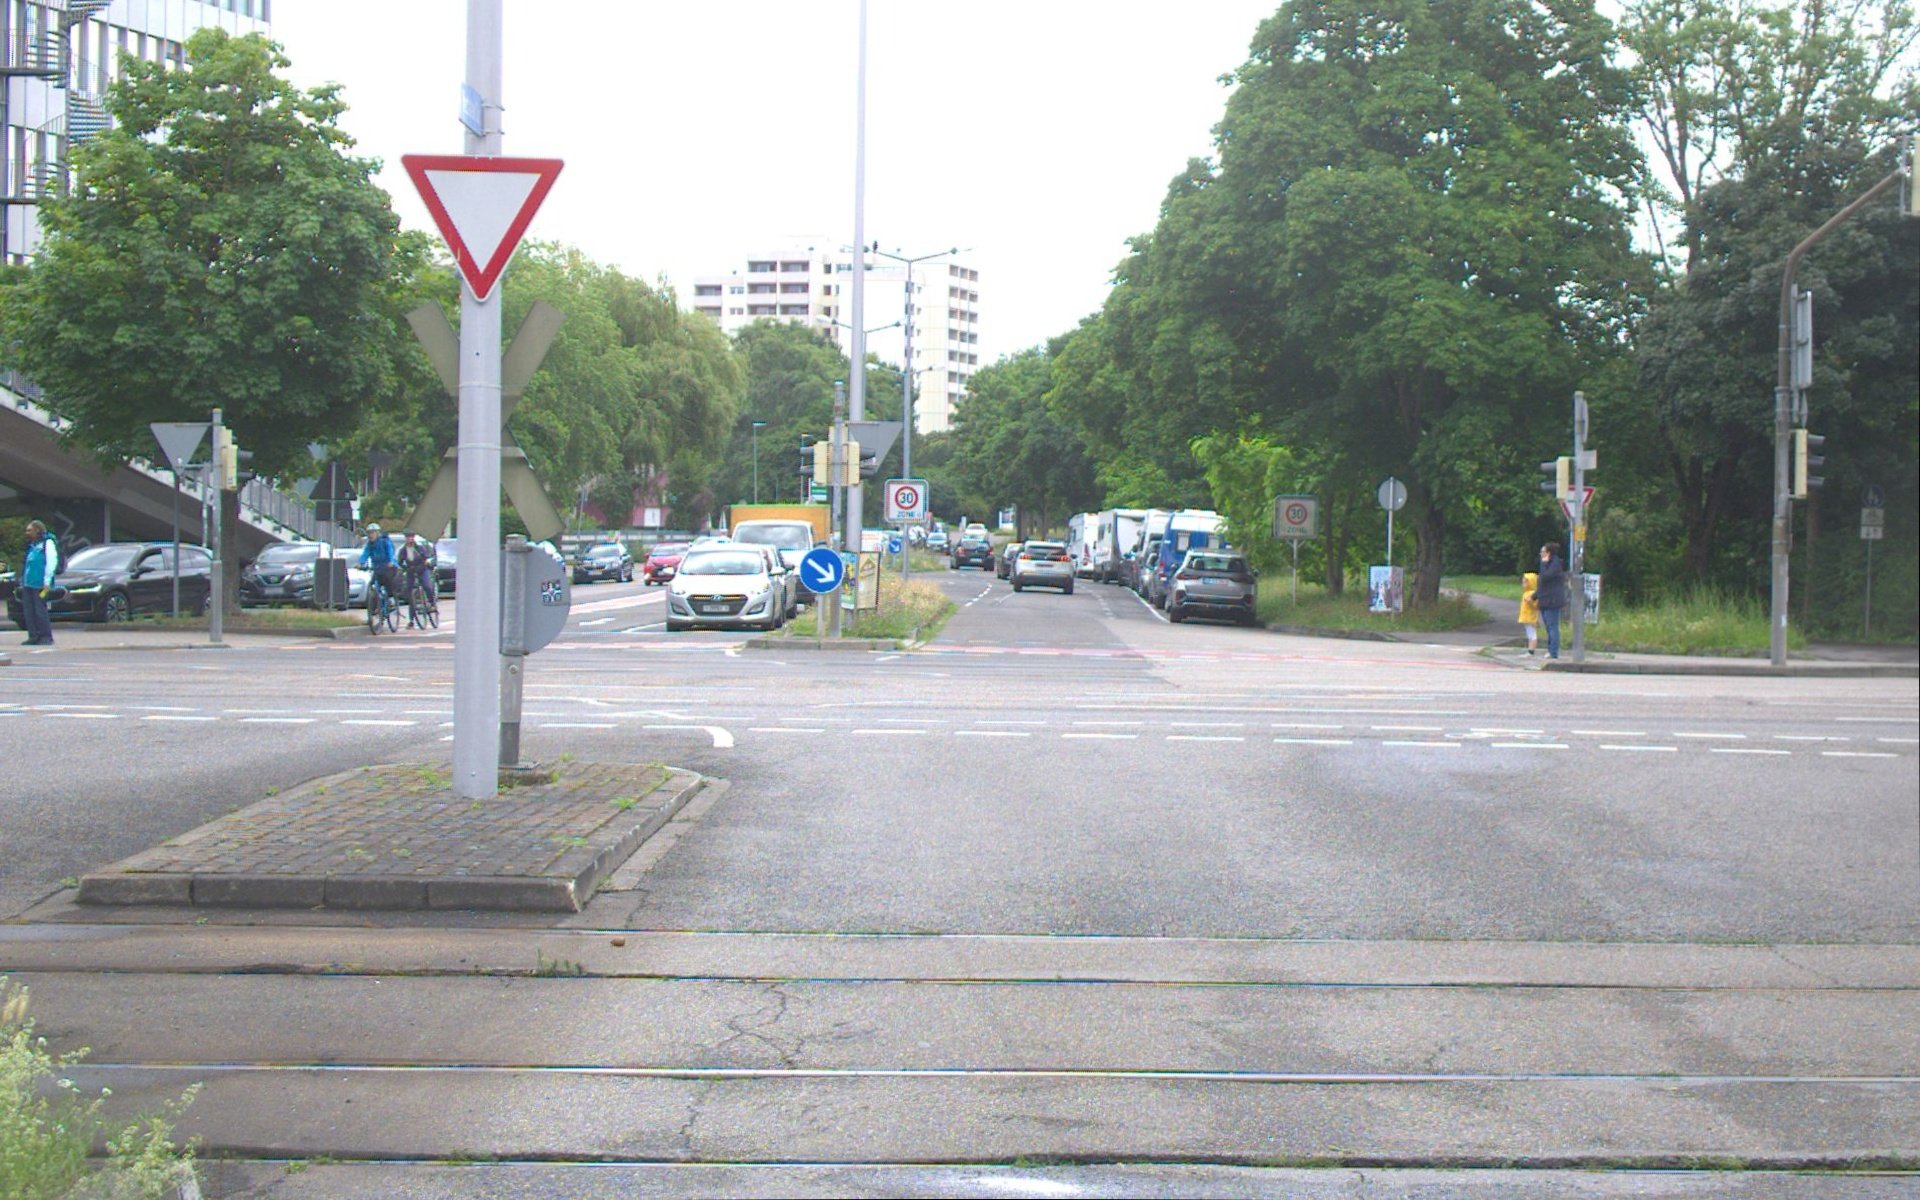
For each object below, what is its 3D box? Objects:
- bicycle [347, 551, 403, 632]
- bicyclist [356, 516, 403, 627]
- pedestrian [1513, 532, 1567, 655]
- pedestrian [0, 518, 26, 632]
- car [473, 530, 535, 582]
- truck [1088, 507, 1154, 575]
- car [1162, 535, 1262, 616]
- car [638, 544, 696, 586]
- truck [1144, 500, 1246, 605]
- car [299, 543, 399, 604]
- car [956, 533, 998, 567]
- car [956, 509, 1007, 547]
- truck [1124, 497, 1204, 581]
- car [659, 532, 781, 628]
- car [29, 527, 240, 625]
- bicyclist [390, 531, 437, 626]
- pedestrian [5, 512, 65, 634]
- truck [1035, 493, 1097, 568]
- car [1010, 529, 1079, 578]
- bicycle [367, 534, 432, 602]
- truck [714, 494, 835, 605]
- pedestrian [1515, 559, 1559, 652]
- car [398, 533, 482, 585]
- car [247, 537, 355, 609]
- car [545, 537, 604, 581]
[{"bbox_3d":[-9.379,-0.149,55.128,0.543,1.263,2.111,1,1,-1],"label":"bicycle"},{"bbox_3d":[-9.388,-0.466,55.616,0.644,1.762,0.647,1,1,-1],"label":"bicyclist"},{"bbox_3d":[8.310,-0.092,49.260,0.657,1.744,0.459,1,1,-1],"label":"pedestrian"},{"bbox_3d":[-12.931,-0.343,45.784,0.917,1.505,0.404,1,1,-11],"label":"pedestrian"},{"bbox_3d":[-14.152,-1.373,106.761,1.444,1.546,3.664,1,1,-1],"label":"car"},{"bbox_3d":[6.164,-2.249,132.144,1.993,2.564,5.379,1,1,-2],"label":"truck"},{"bbox_3d":[5.397,-0.547,73.938,1.784,1.656,4.000,1,1,-1],"label":"car"},{"bbox_3d":[-9.898,-1.179,116.170,1.512,1.385,3.532,1,1,2],"label":"car"},{"bbox_3d":[6.152,-1.241,90.730,2.174,2.647,6.247,0,1,-1],"label":"truck"},{"bbox_3d":[-14.751,-0.658,83.151,1.671,1.382,3.895,1,1,0],"label":"car"},{"bbox_3d":[0.759,-2.261,154.710,1.553,1.500,4.001,1,1,-5],"label":"car"},{"bbox_3d":[0.871,-2.962,141.835,2.020,1.500,4.000,1,1,-1],"label":"car"},{"bbox_3d":[7.102,-2.122,120.071,1.993,2.828,5.732,1,1,-4],"label":"truck"},{"bbox_3d":[-4.006,-0.368,57.912,1.789,1.514,4.326,1,1,-1],"label":"car"},{"bbox_3d":[-13.731,-0.421,57.382,1.673,1.546,3.997,1,1,16],"label":"car"},{"bbox_3d":[-9.284,-0.370,58.428,0.679,1.589,0.695,1,0,-1],"label":"bicyclist"},{"bbox_3d":[-12.316,-0.362,45.777,0.687,1.599,0.488,1,1,-5],"label":"pedestrian"},{"bbox_3d":[4.387,-2.856,142.931,1.993,2.998,5.773,1,1,-4],"label":"truck"},{"bbox_3d":[2.649,-1.484,108.484,2.020,1.500,4.000,1,1,-1],"label":"car"},{"bbox_3d":[-9.390,-0.548,57.638,0.726,1.097,2.264,1,1,-1],"label":"bicycle"},{"bbox_3d":[-3.826,-1.081,72.036,2.155,2.191,5.840,1,1,0],"label":"truck"},{"bbox_3d":[8.376,0.074,49.929,0.527,1.337,0.525,1,1,-1],"label":"pedestrian"},{"bbox_3d":[-14.510,-1.164,96.096,1.763,1.390,4.000,1,1,-1],"label":"car"},{"bbox_3d":[-14.855,-0.622,77.655,1.671,1.546,3.892,1,1,0],"label":"car"},{"bbox_3d":[-14.069,-1.524,125.527,1.671,1.546,4.000,1,1,0],"label":"car"}]
